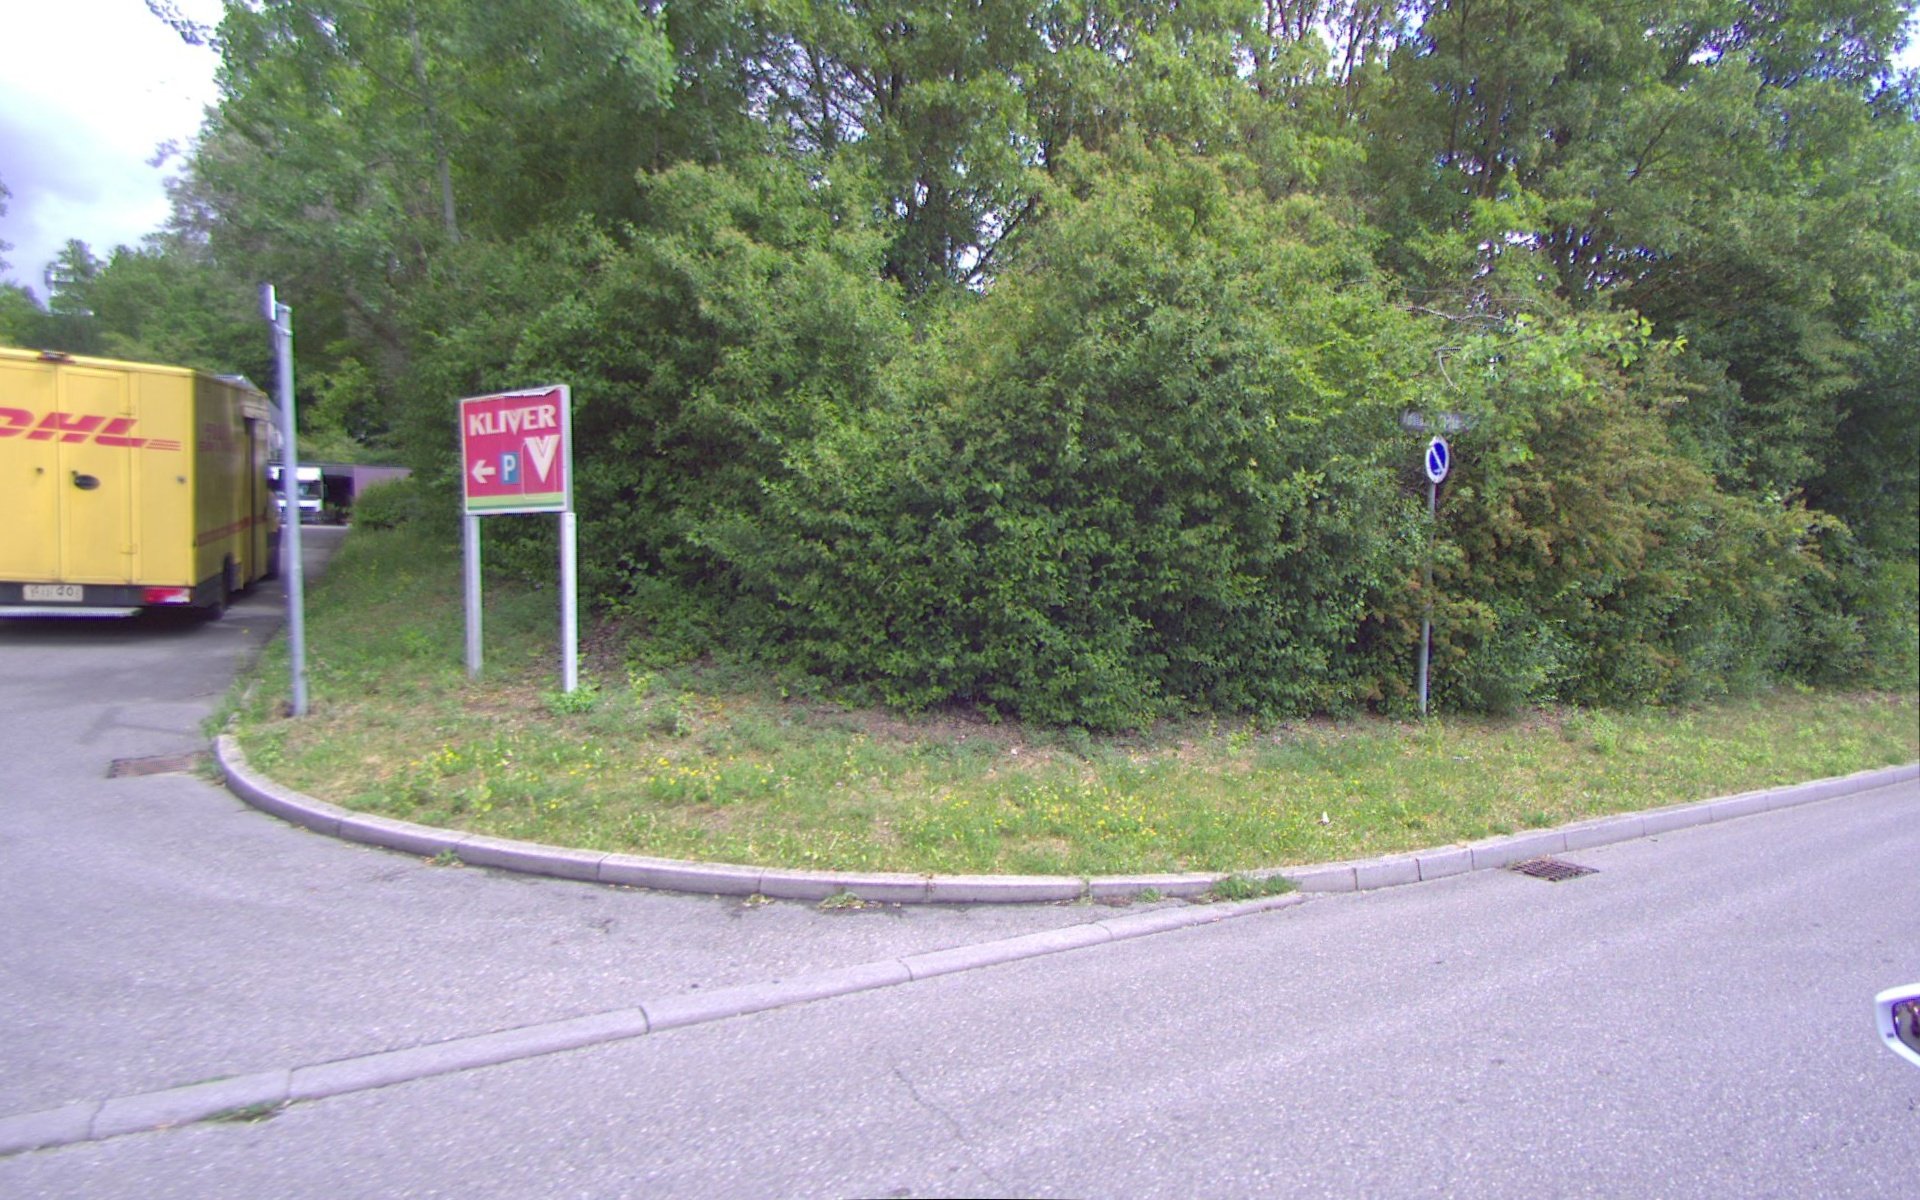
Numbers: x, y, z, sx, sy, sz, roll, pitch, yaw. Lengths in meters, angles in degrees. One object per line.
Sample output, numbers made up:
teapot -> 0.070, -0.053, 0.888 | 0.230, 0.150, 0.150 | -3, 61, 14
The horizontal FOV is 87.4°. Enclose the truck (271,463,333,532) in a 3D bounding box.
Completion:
truck -> -39.904, -6.182, 61.094 | 2.549, 3.743, 7.276 | 2, 4, -29

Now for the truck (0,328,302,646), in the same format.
truck -> -9.738, -1.315, 12.160 | 2.204, 2.846, 6.524 | 2, 5, -27
